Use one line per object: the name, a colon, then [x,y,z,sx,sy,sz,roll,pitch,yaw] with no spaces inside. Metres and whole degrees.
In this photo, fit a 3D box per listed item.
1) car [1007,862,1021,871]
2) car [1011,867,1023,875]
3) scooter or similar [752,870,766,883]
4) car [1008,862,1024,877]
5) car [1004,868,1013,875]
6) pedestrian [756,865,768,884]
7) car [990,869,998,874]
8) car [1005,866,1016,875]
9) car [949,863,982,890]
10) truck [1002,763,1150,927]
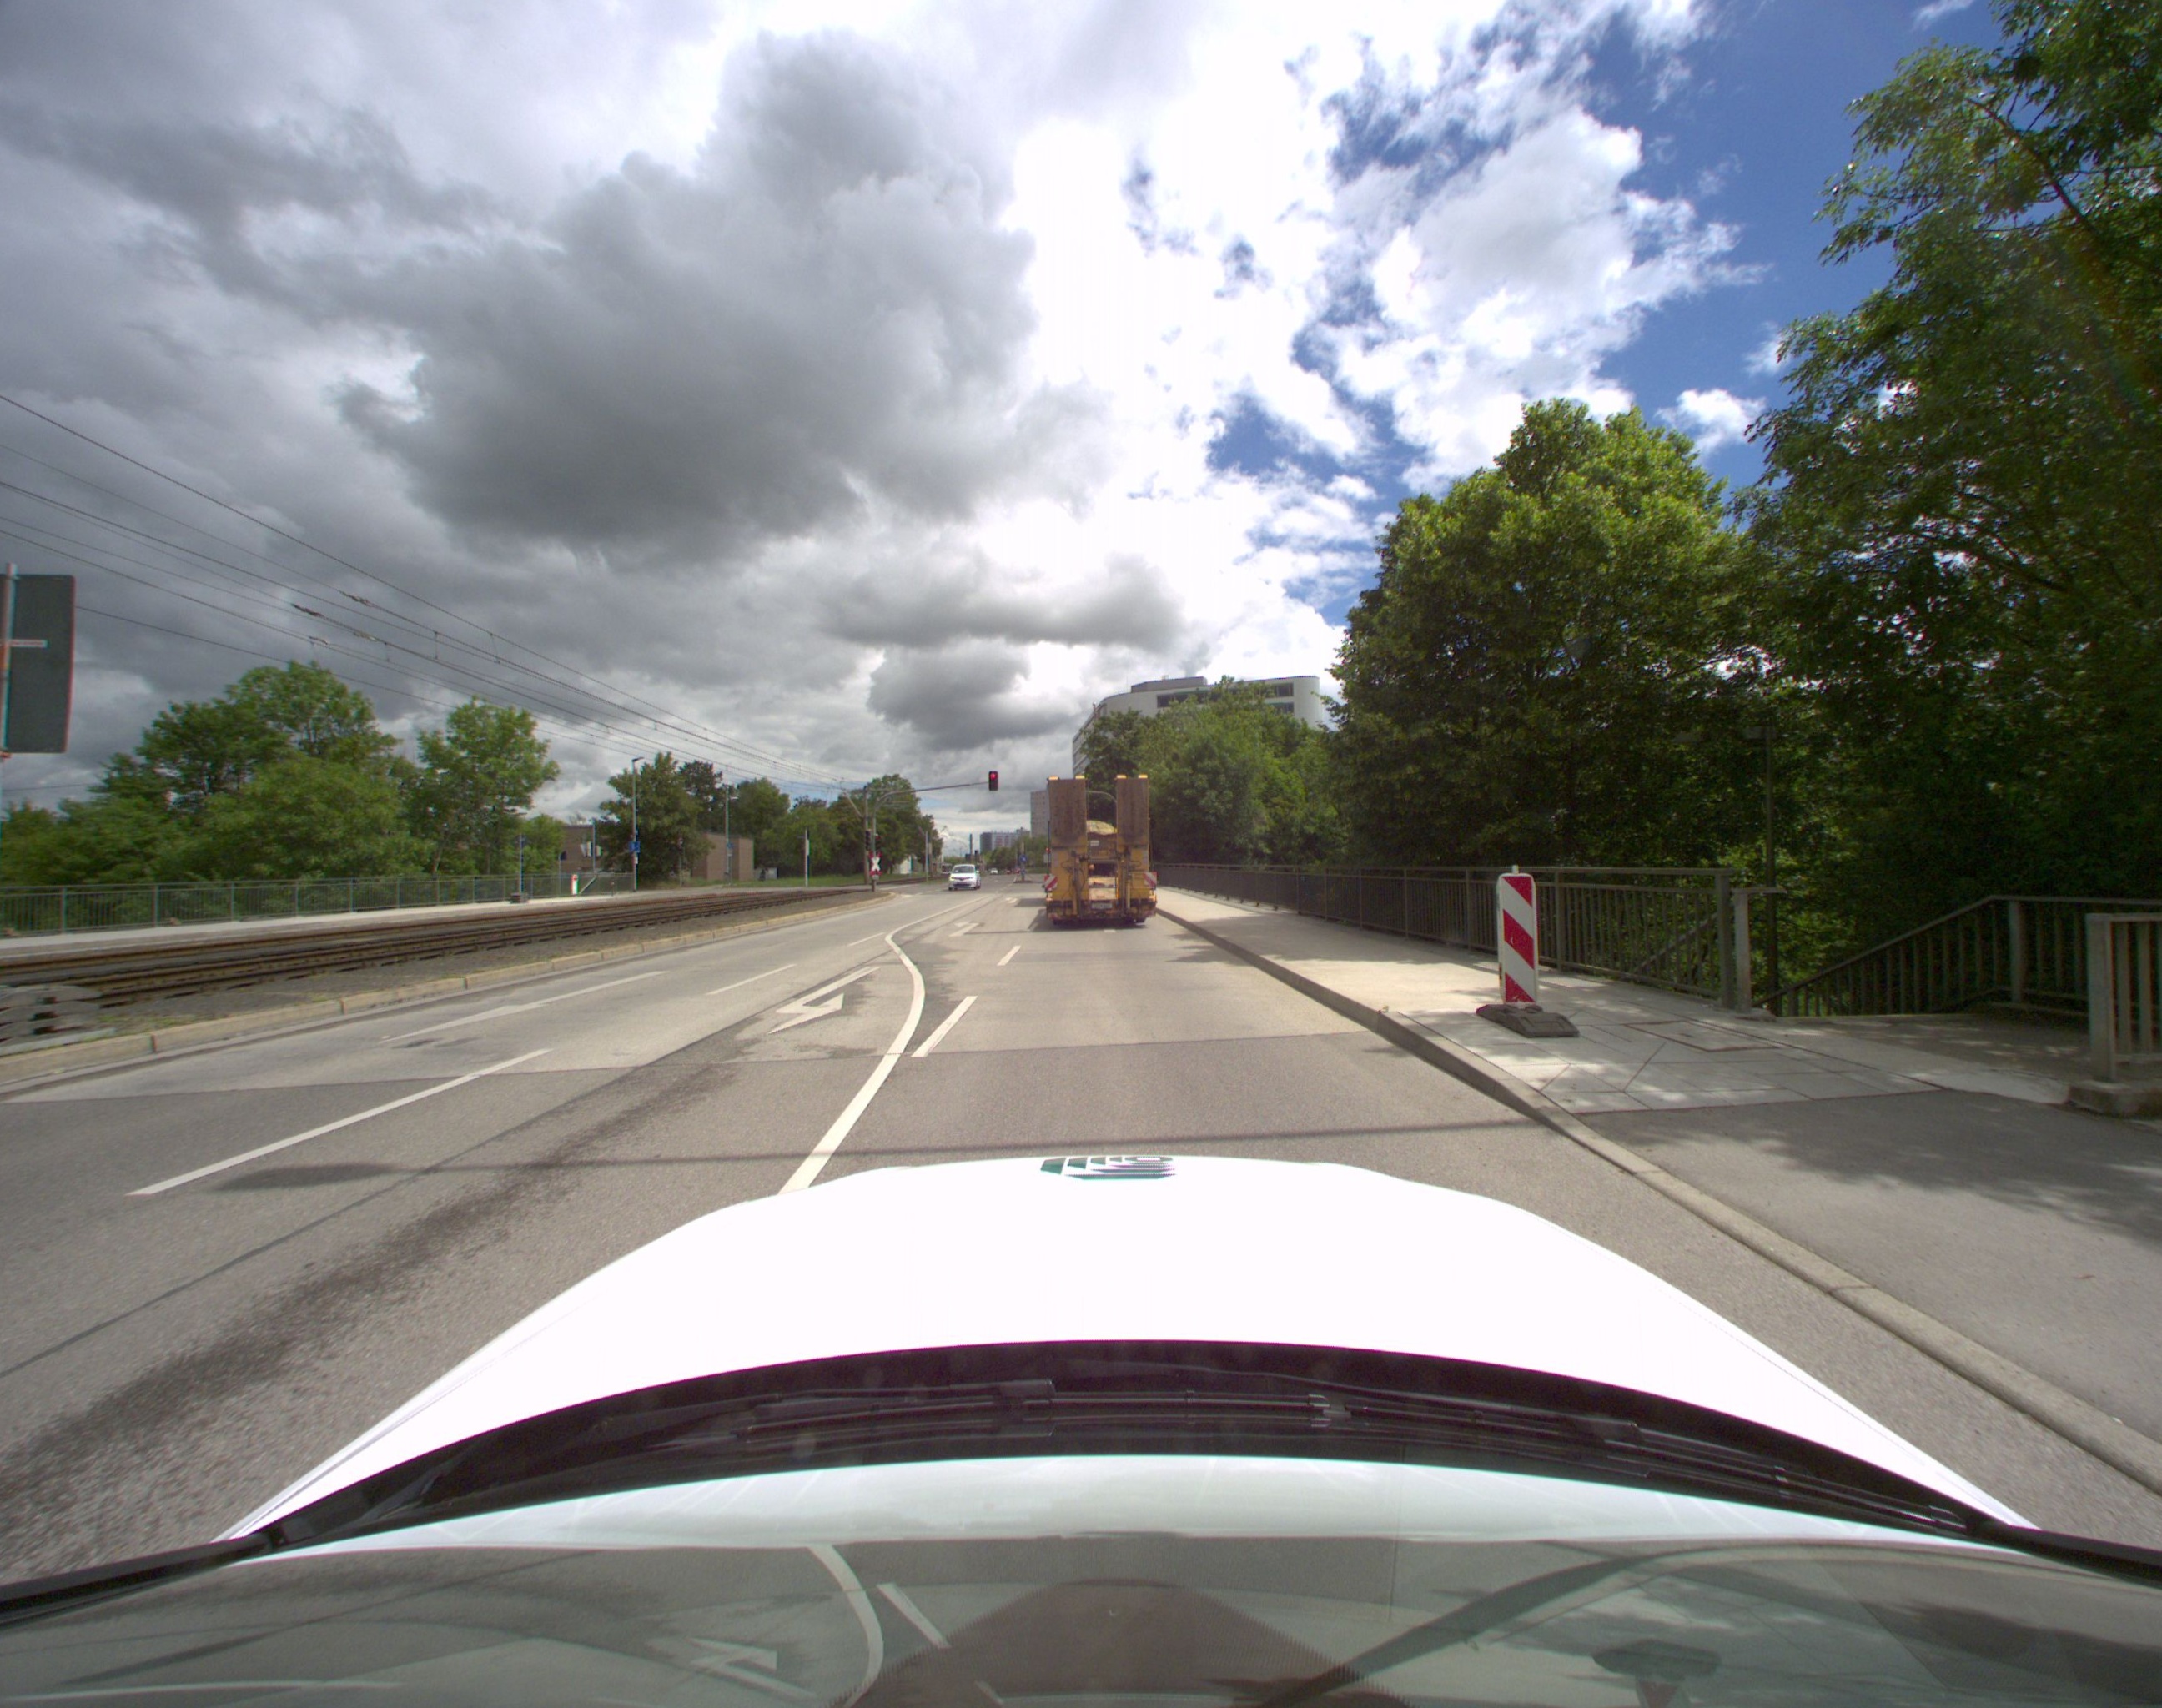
car: [-10.842,2.029,131.914,1.989,1.420,3.995,1,-1,-3]
car: [-11.153,2.965,141.883,1.989,1.420,3.995,1,-1,-3]
scooter or similar: [-29.882,2.069,75.509,0.888,1.184,0.972,1,-1,-1]
car: [-8.673,2.052,108.925,1.989,1.926,3.995,1,-1,-3]
car: [-15.216,3.636,170.535,1.780,1.271,4.338,-1,-1,-4]
pedestrian: [-29.905,1.933,76.380,0.799,1.811,0.809,1,-1,0]
car: [-21.602,4.359,201.493,1.780,1.271,4.338,-1,-1,-4]
car: [-14.327,3.381,166.341,1.989,1.618,3.995,1,-1,-3]
car: [-6.965,1.353,49.389,1.589,1.527,3.652,-1,-1,-2]
truck: [0.124,-0.114,24.629,3.303,3.651,12.567,0,-1,2]
